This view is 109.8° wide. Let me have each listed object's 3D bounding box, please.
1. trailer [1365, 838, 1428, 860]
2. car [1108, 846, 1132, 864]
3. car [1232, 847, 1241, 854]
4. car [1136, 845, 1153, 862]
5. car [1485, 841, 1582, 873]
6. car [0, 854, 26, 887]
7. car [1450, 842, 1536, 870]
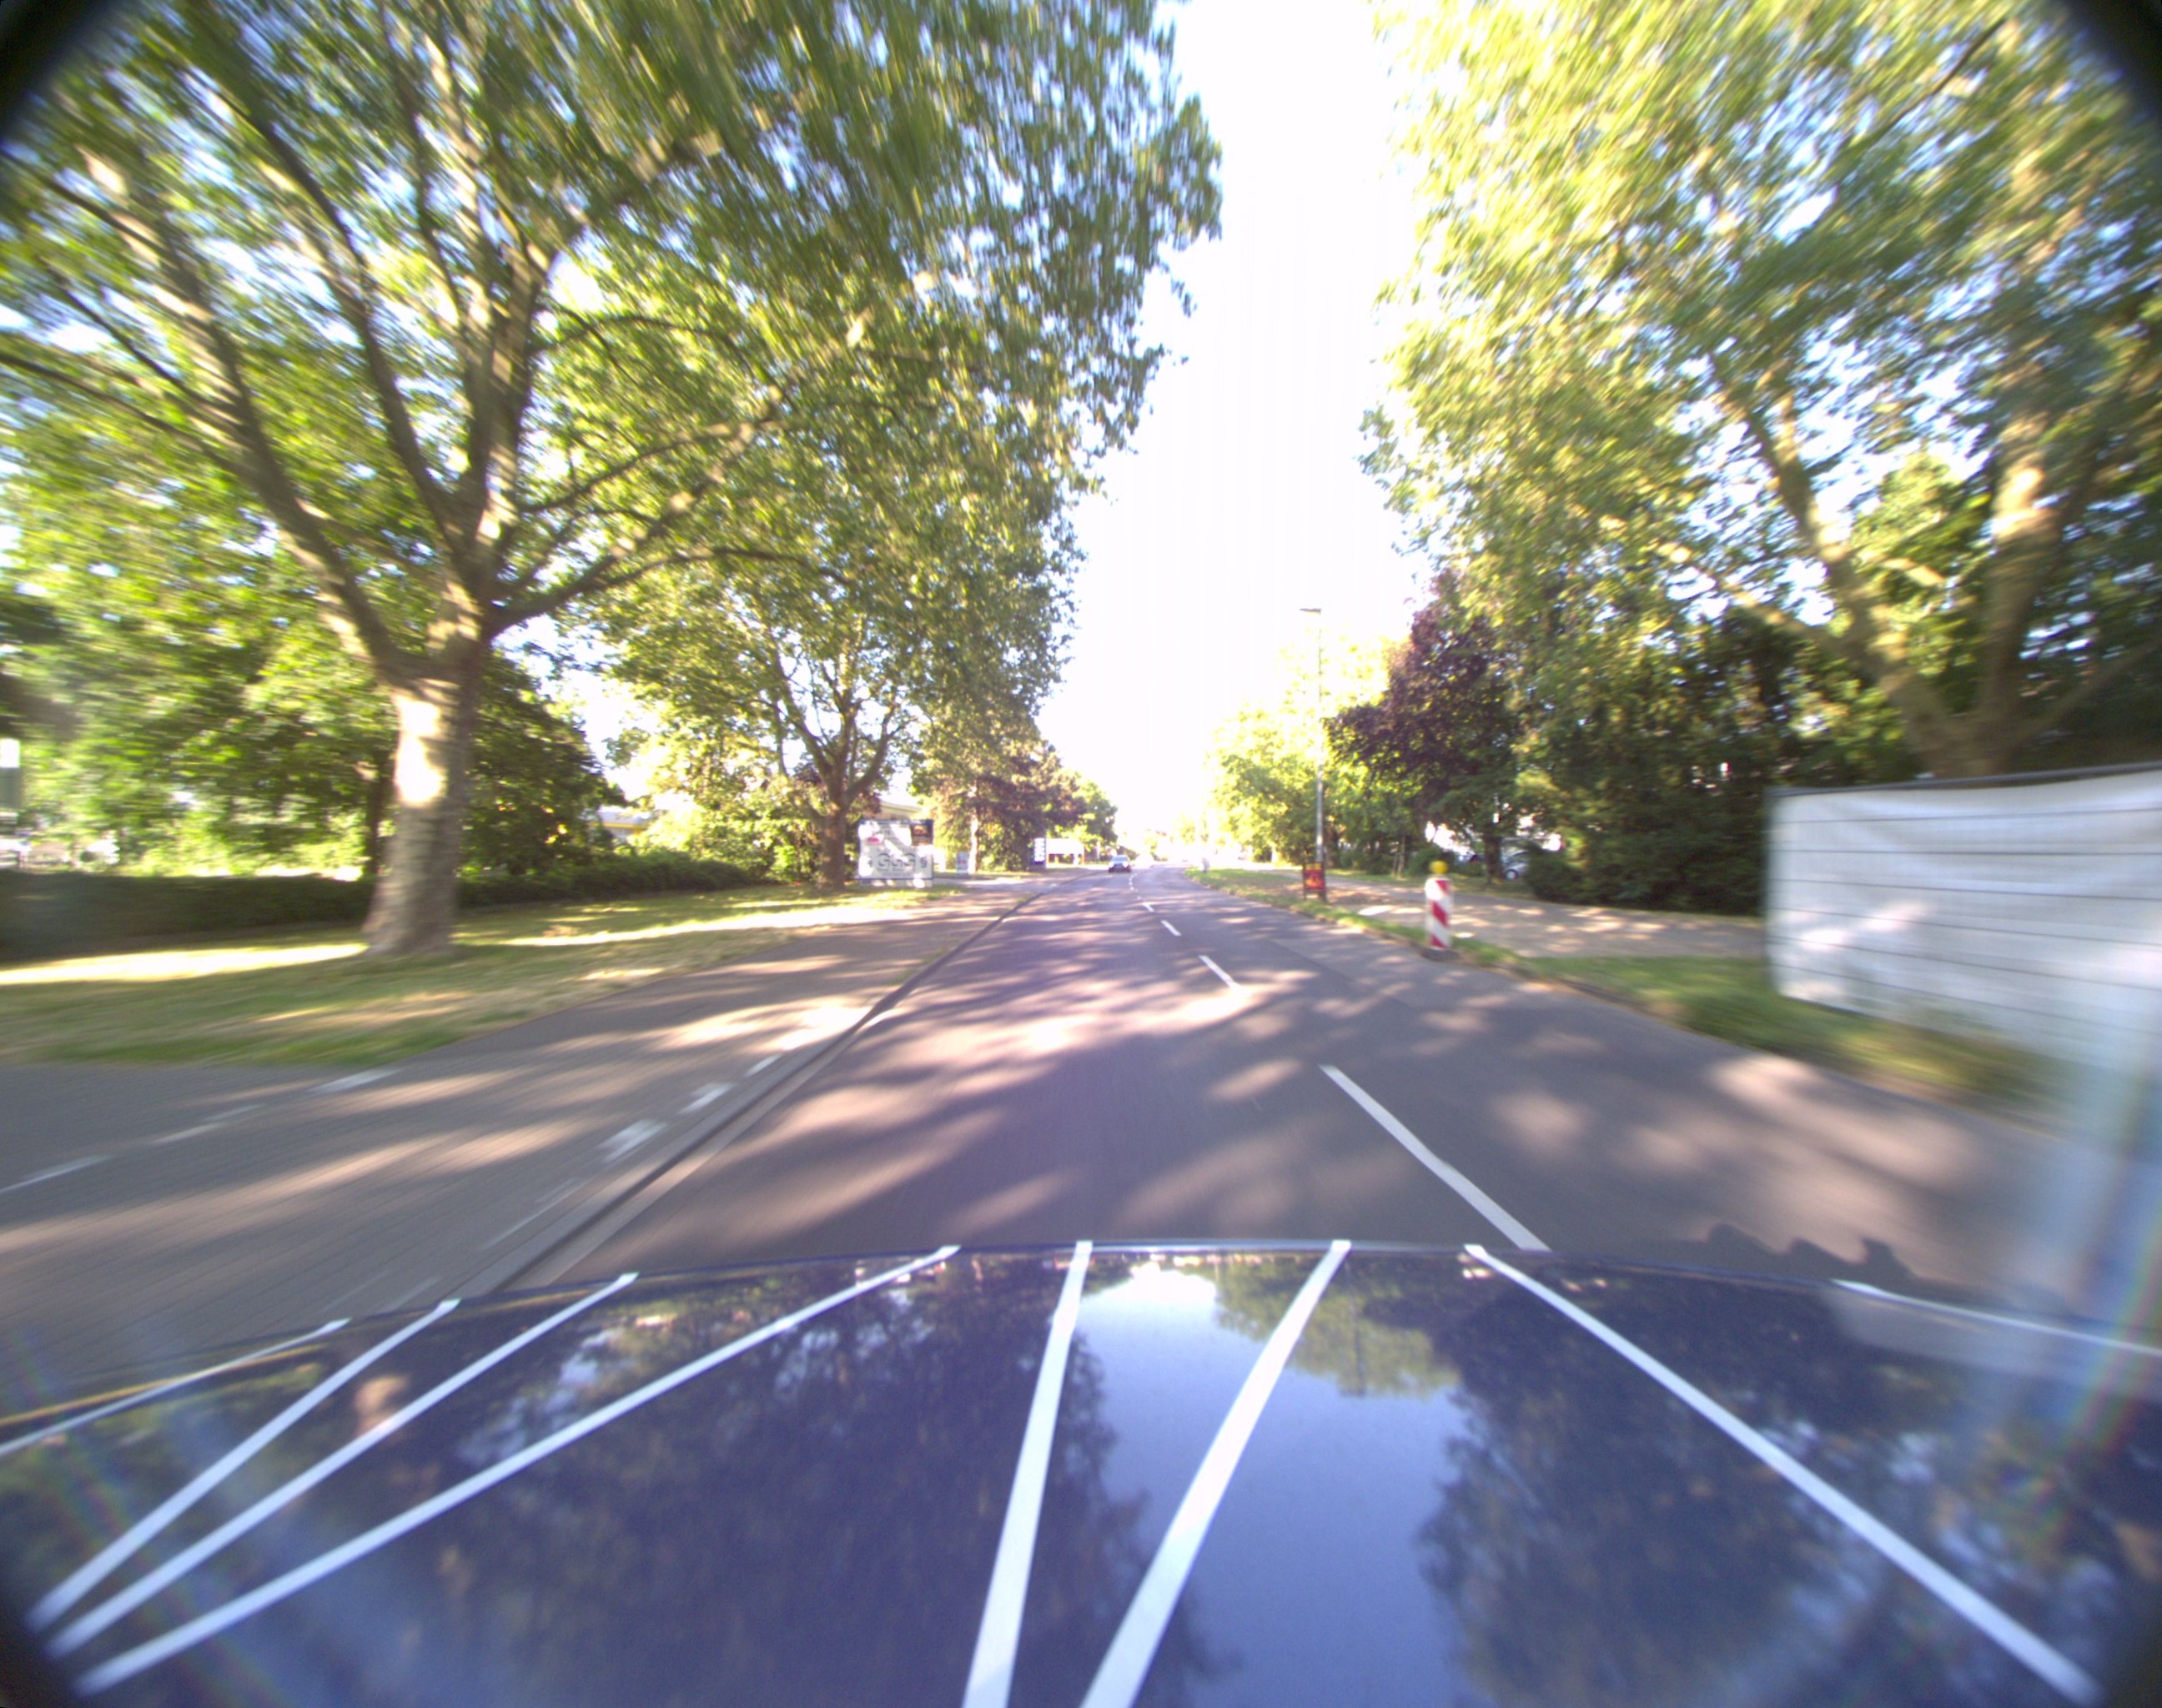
[{"bbox_3d":[23.834,-0.377,57.431,3.995,1.546,2.001,0,1,5],"label":"trailer"},{"bbox_3d":[3.355,0.036,64.640,1.869,1.471,4.088,0,1,5],"label":"car"},{"bbox_3d":[38.010,-0.838,185.203,1.763,1.474,4.113,-2,0,16],"label":"car"},{"bbox_3d":[7.930,-0.040,94.719,1.933,2.002,4.001,-1,1,6],"label":"car"},{"bbox_3d":[23.904,0.143,40.271,3.996,1.592,1.929,0,1,2],"label":"car"},{"bbox_3d":[-45.822,0.674,30.222,1.997,1.346,4.002,0,0,7],"label":"car"},{"bbox_3d":[24.323,0.098,44.963,3.996,1.592,1.930,0,1,2],"label":"car"}]
